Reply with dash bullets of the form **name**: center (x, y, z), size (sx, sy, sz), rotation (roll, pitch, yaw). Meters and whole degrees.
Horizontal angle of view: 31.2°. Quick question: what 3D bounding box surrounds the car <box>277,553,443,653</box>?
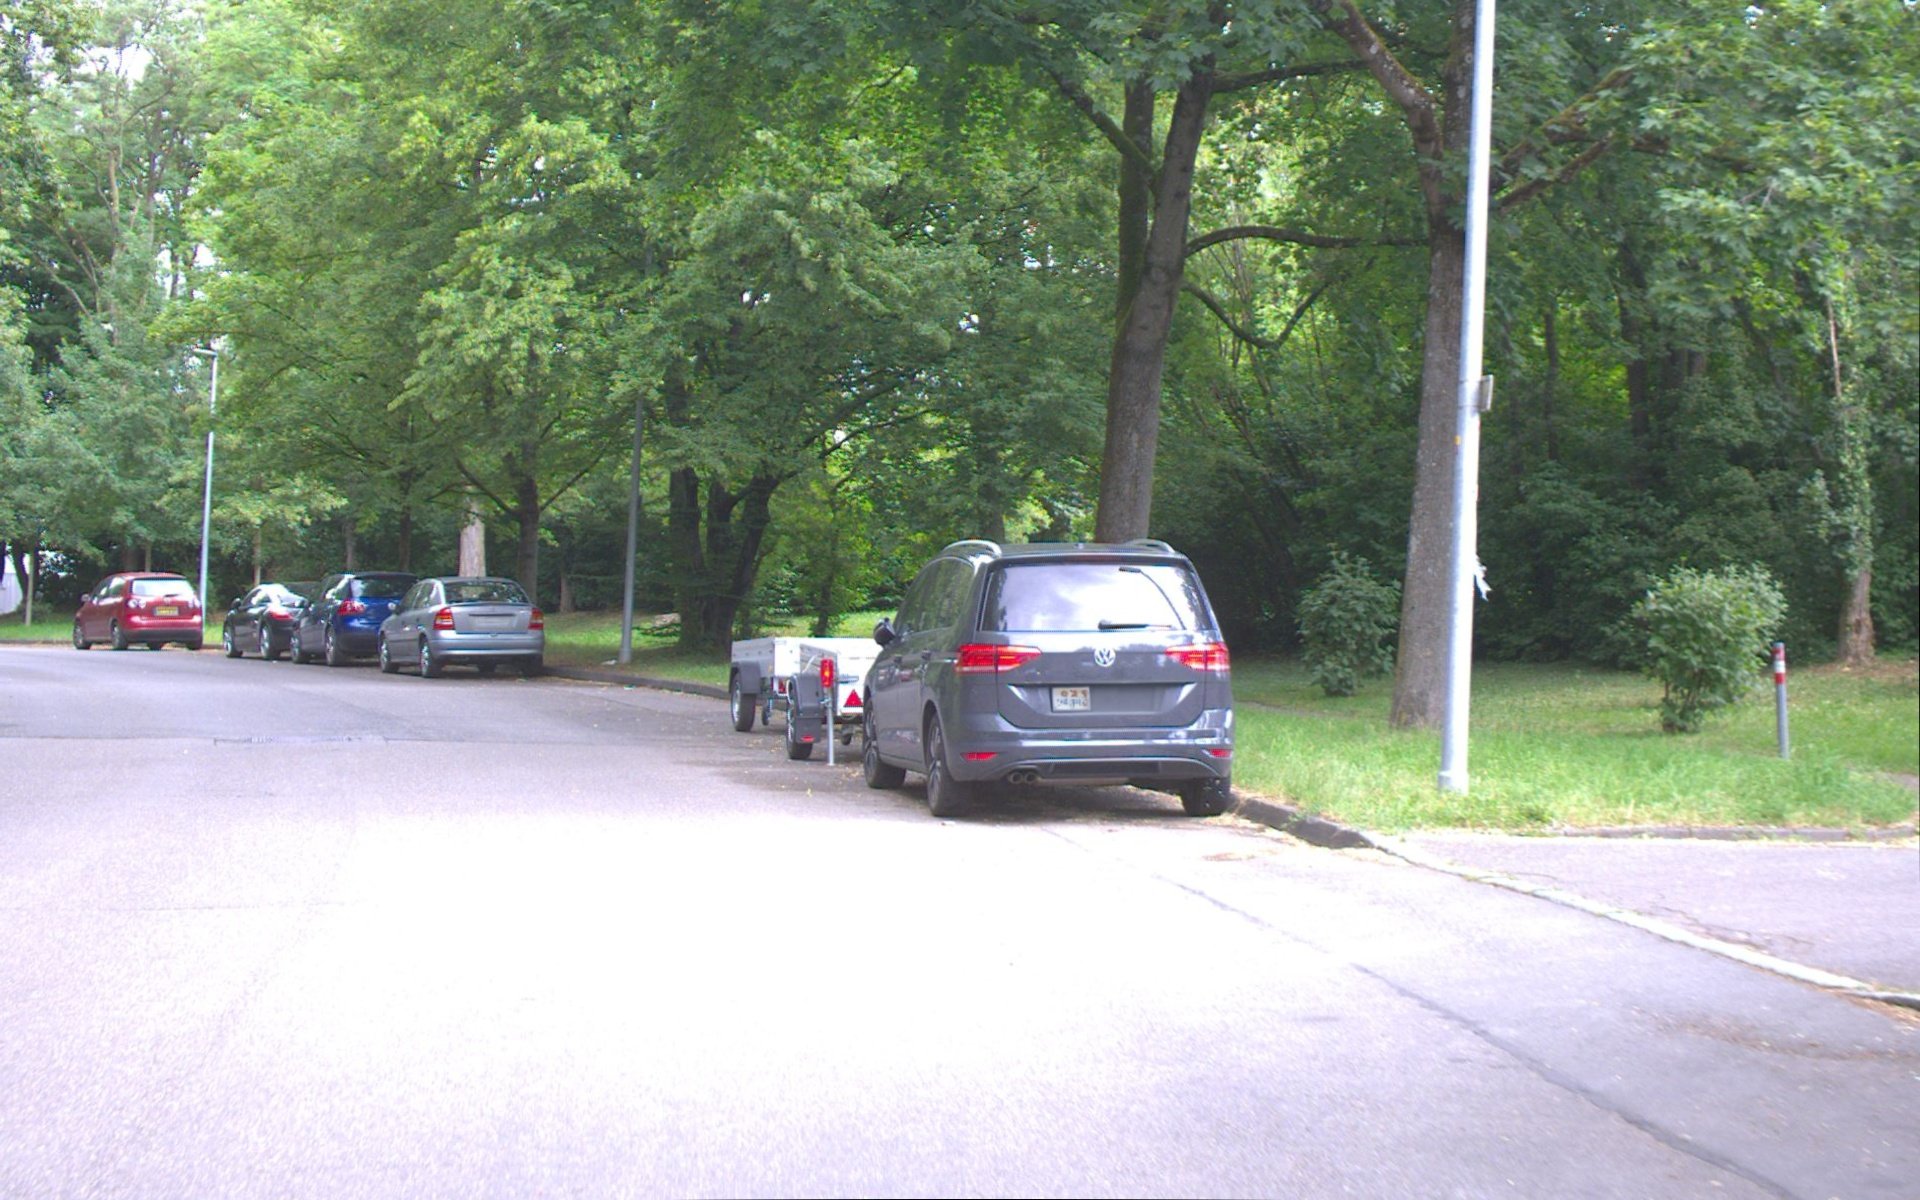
- **car**: center (-9.777, 0.055, 55.785), size (1.713, 1.504, 4.182), rotation (3, -1, -23)

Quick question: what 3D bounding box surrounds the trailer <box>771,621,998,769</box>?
- **trailer**: center (-0.668, 0.727, 27.778), size (1.357, 0.965, 3.894), rotation (2, 1, -8)

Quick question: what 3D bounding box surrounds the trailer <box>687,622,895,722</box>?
- **trailer**: center (-1.641, 0.663, 32.480), size (1.363, 0.845, 3.279), rotation (2, -1, -13)

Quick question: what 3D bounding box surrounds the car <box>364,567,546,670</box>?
- **car**: center (-7.325, 0.255, 49.585), size (1.717, 1.427, 3.949), rotation (0, 0, -22)

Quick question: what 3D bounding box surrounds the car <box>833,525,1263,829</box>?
- **car**: center (0.417, 0.425, 21.766), size (1.775, 1.657, 4.842), rotation (2, 0, -10)

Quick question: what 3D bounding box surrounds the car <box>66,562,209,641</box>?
- **car**: center (-16.727, 0.043, 69.793), size (1.738, 1.557, 4.000), rotation (0, 0, -30)

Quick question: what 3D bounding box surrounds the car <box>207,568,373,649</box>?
- **car**: center (-11.759, 0.139, 60.129), size (1.750, 1.332, 4.416), rotation (1, 0, -26)
